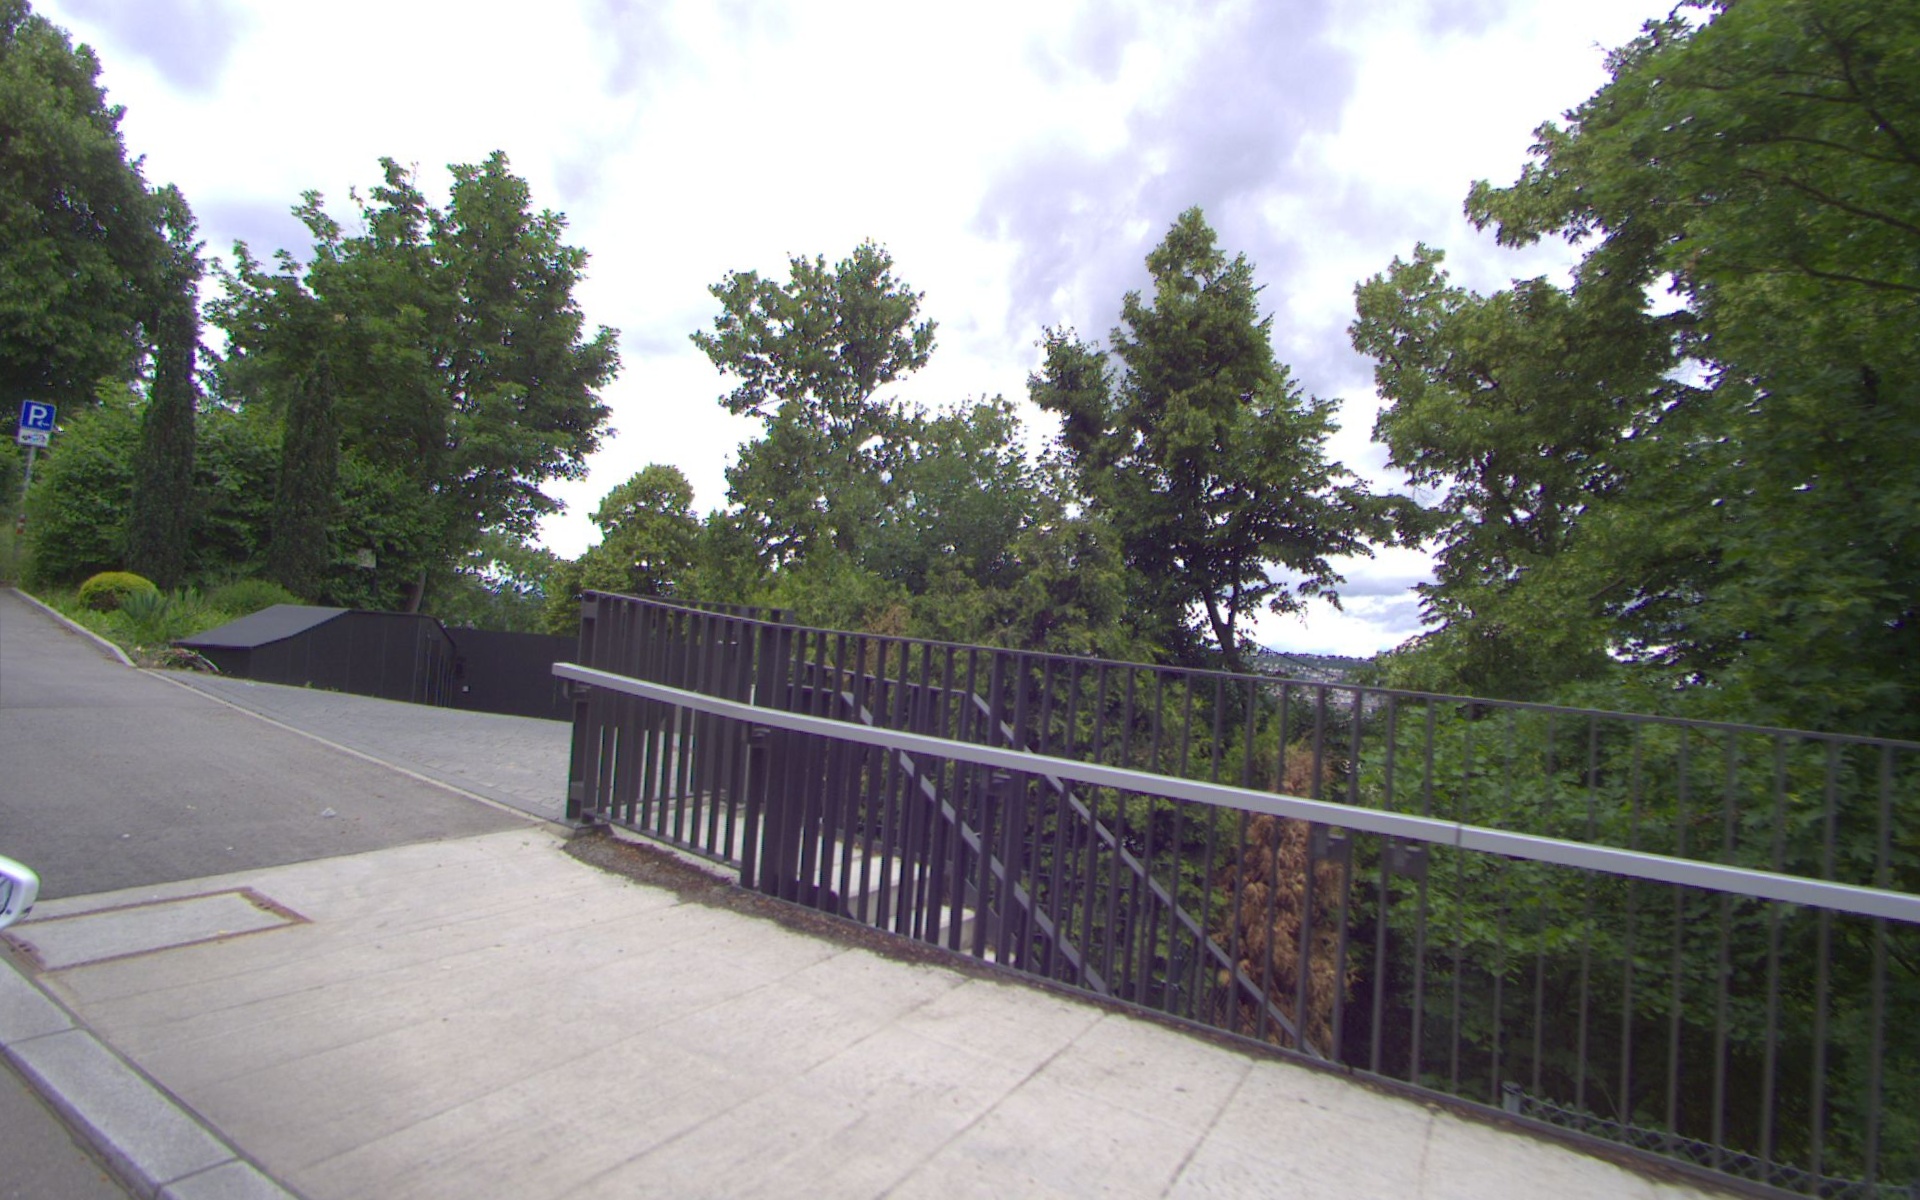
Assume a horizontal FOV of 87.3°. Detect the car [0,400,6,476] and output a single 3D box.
[{"bbox_3d":[-15.712,-1.681,14.291,5.755,2.555,2.083,6,1,37],"label":"car"}]
